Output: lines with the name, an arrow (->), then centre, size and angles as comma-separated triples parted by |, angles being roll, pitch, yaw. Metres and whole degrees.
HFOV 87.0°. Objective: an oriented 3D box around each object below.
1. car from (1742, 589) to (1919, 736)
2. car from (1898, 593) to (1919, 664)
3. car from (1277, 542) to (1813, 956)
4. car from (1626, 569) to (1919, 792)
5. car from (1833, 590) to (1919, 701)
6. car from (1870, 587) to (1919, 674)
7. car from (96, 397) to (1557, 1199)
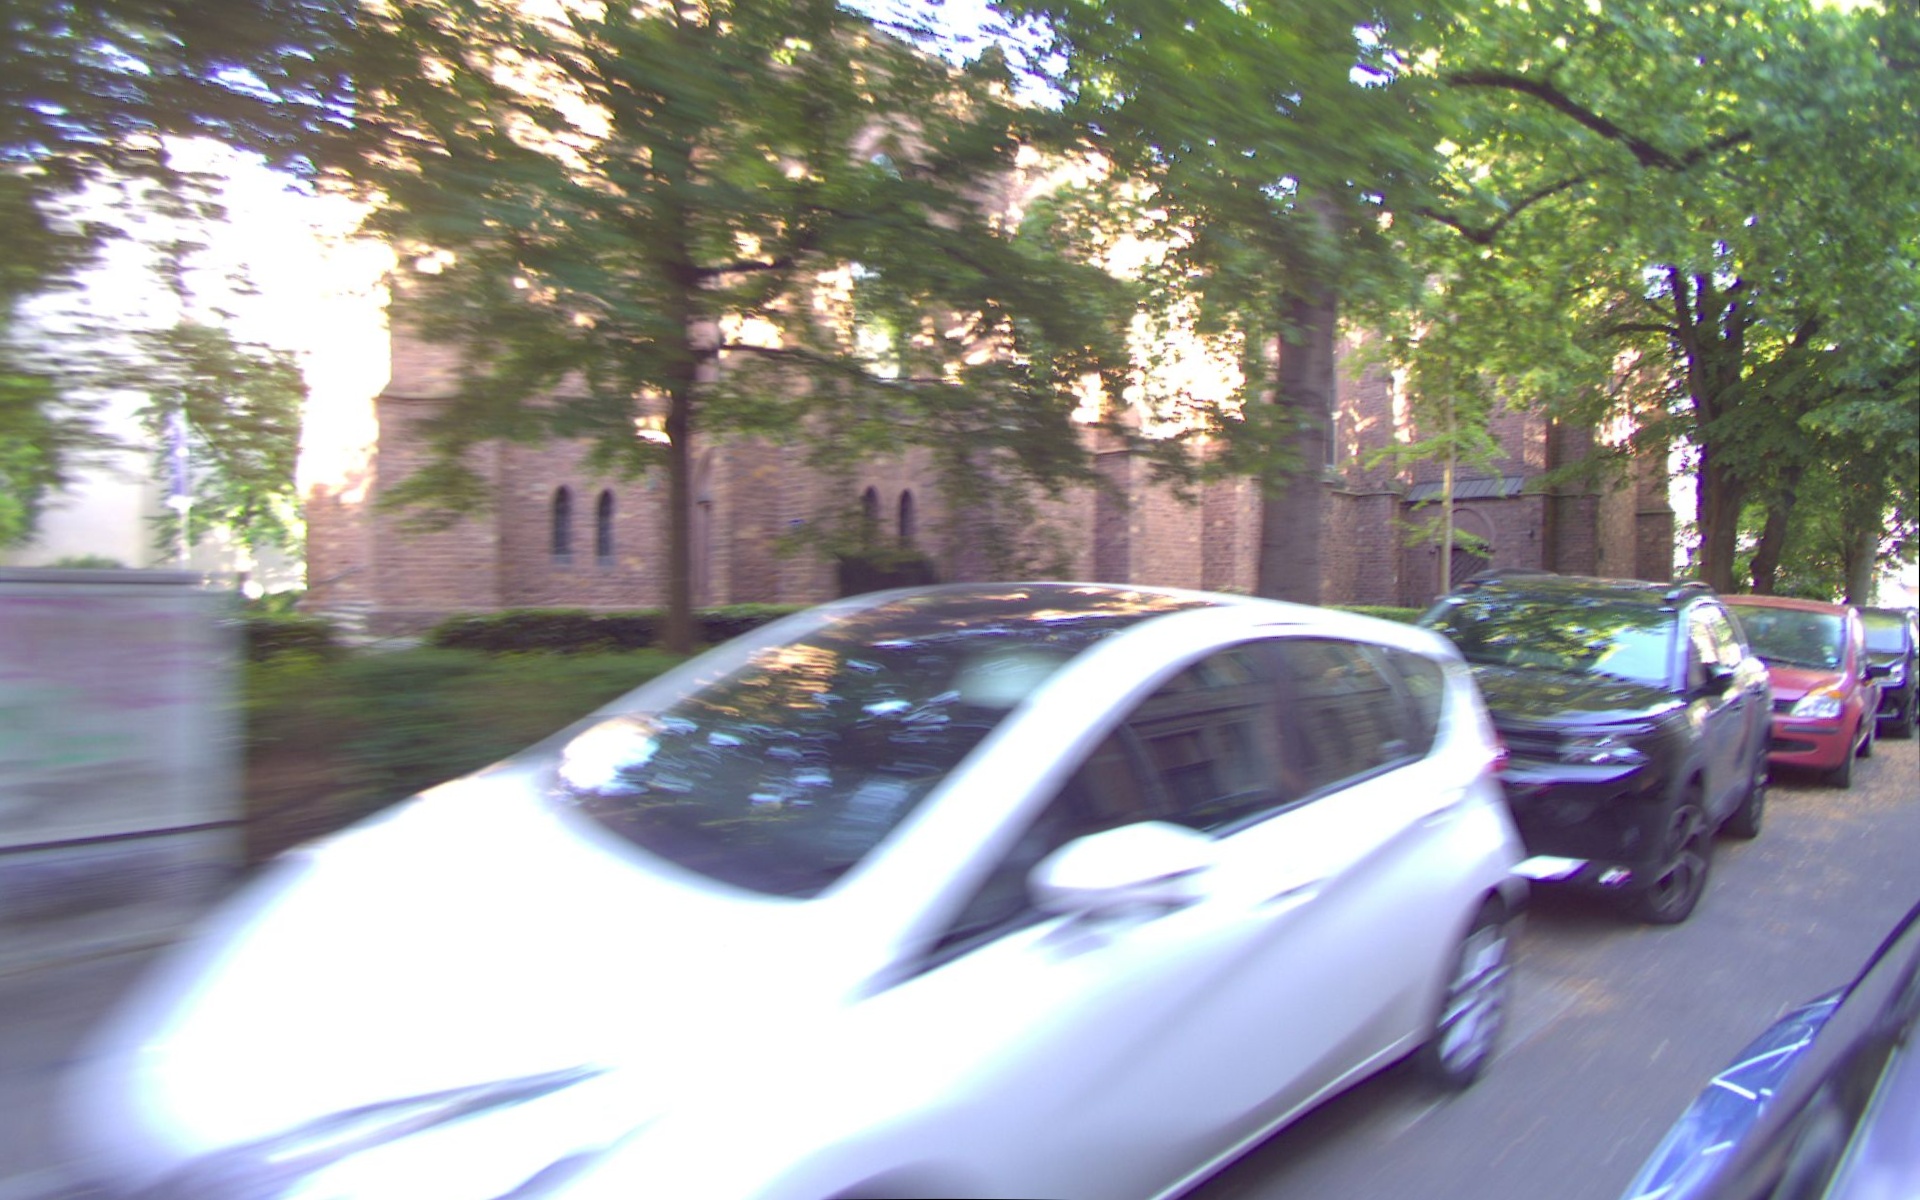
car -> 11.692, 0.679, 13.057 | 3.708, 1.504, 1.624 | 0, 6, -39
car -> 22.433, 0.668, 22.650 | 3.501, 1.485, 1.603 | -1, 6, -40
car -> 3.829, 0.550, 6.253 | 4.195, 1.622, 1.741 | -1, 6, -45
car -> 8.032, 0.594, 9.858 | 3.799, 1.643, 1.622 | -1, 6, -43
car -> 15.358, 0.668, 16.192 | 4.620, 1.458, 1.677 | -1, 6, -45
car -> 19.047, 0.592, 19.628 | 3.566, 1.523, 1.603 | -1, 6, -42
car -> 0.067, 0.592, 2.840 | 3.762, 1.590, 1.721 | 0, 1, -42
